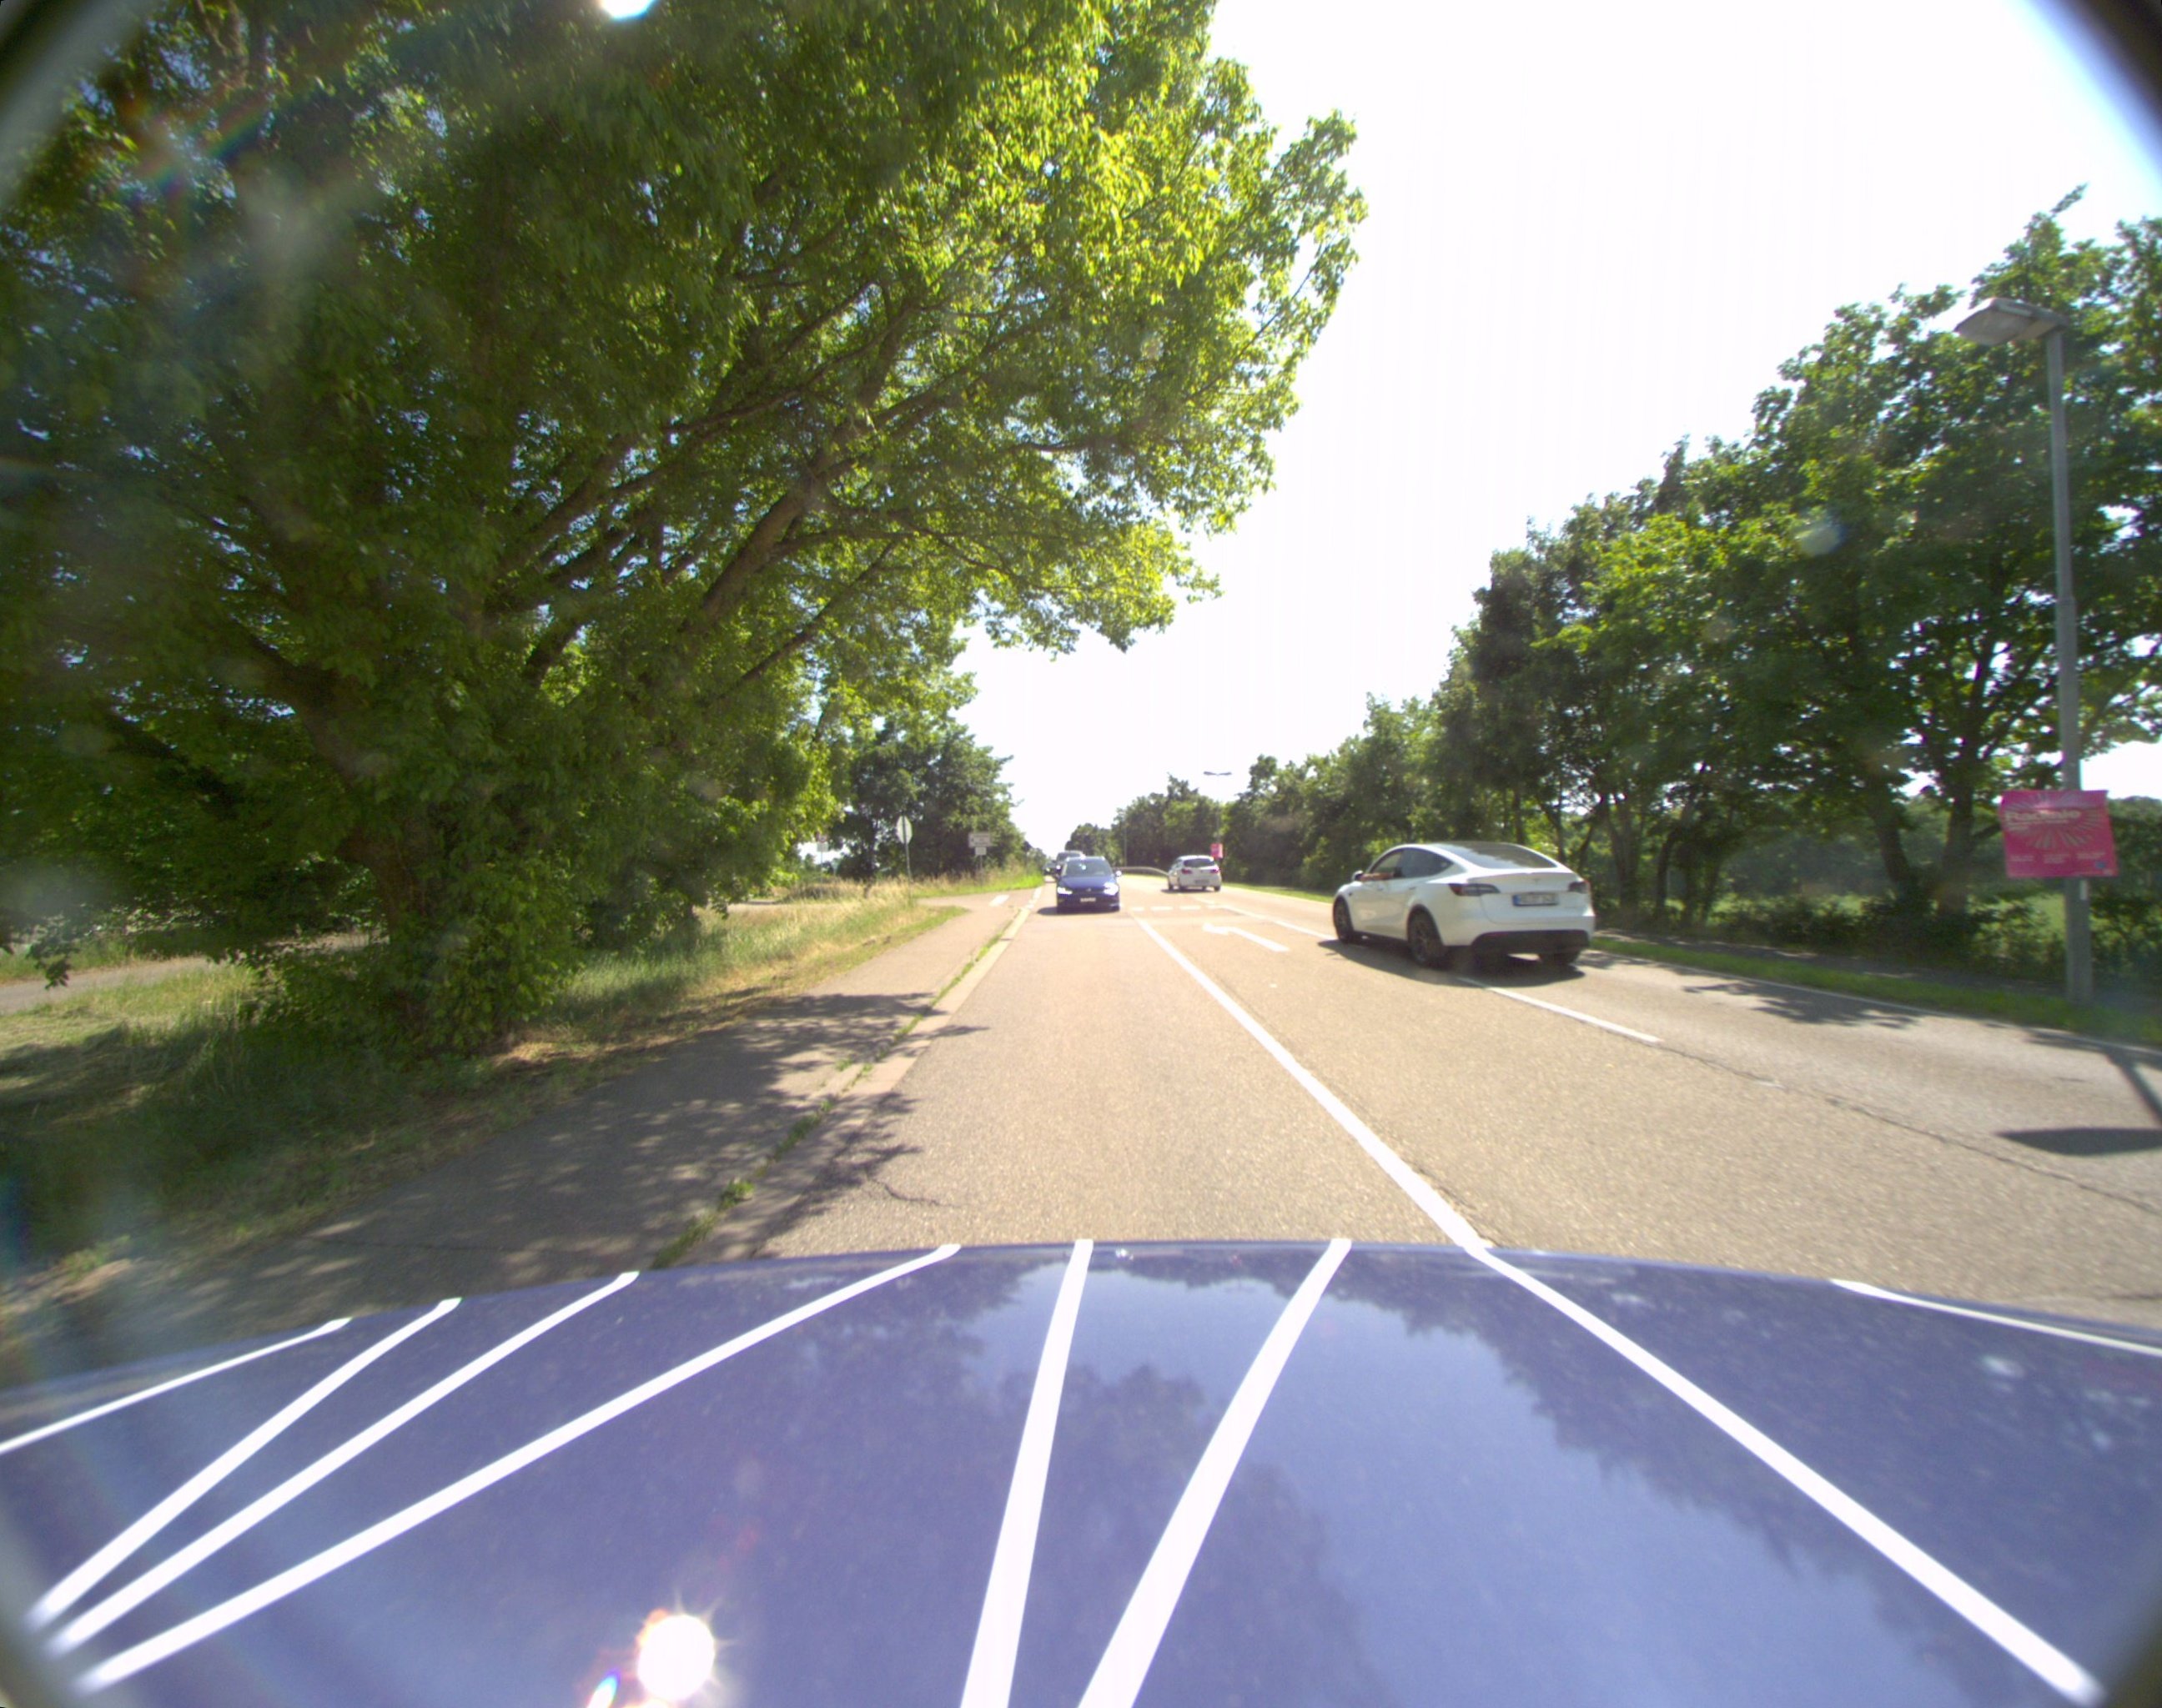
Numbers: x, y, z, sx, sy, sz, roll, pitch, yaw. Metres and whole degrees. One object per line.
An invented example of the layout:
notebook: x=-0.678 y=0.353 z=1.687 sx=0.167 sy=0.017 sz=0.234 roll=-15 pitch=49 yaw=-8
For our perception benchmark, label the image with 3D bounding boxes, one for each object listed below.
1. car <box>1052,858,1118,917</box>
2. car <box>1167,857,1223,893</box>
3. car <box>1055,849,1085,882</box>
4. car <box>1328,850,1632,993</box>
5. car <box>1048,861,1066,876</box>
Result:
car: x=0.027 y=0.923 z=22.839 sx=1.765 sy=1.519 sz=4.421 roll=-2 pitch=0 yaw=-2
car: x=4.783 y=0.871 z=32.320 sx=1.653 sy=1.425 sz=3.896 roll=-1 pitch=-1 yaw=-1
car: x=-0.734 y=0.777 z=48.260 sx=1.765 sy=1.953 sz=4.262 roll=-2 pitch=-2 yaw=-2
car: x=5.216 y=0.780 z=10.775 sx=1.881 sy=1.563 sz=4.471 roll=-1 pitch=-1 yaw=-1
car: x=-2.762 y=1.632 z=85.973 sx=1.765 sy=1.530 sz=3.682 roll=-2 pitch=1 yaw=-6
